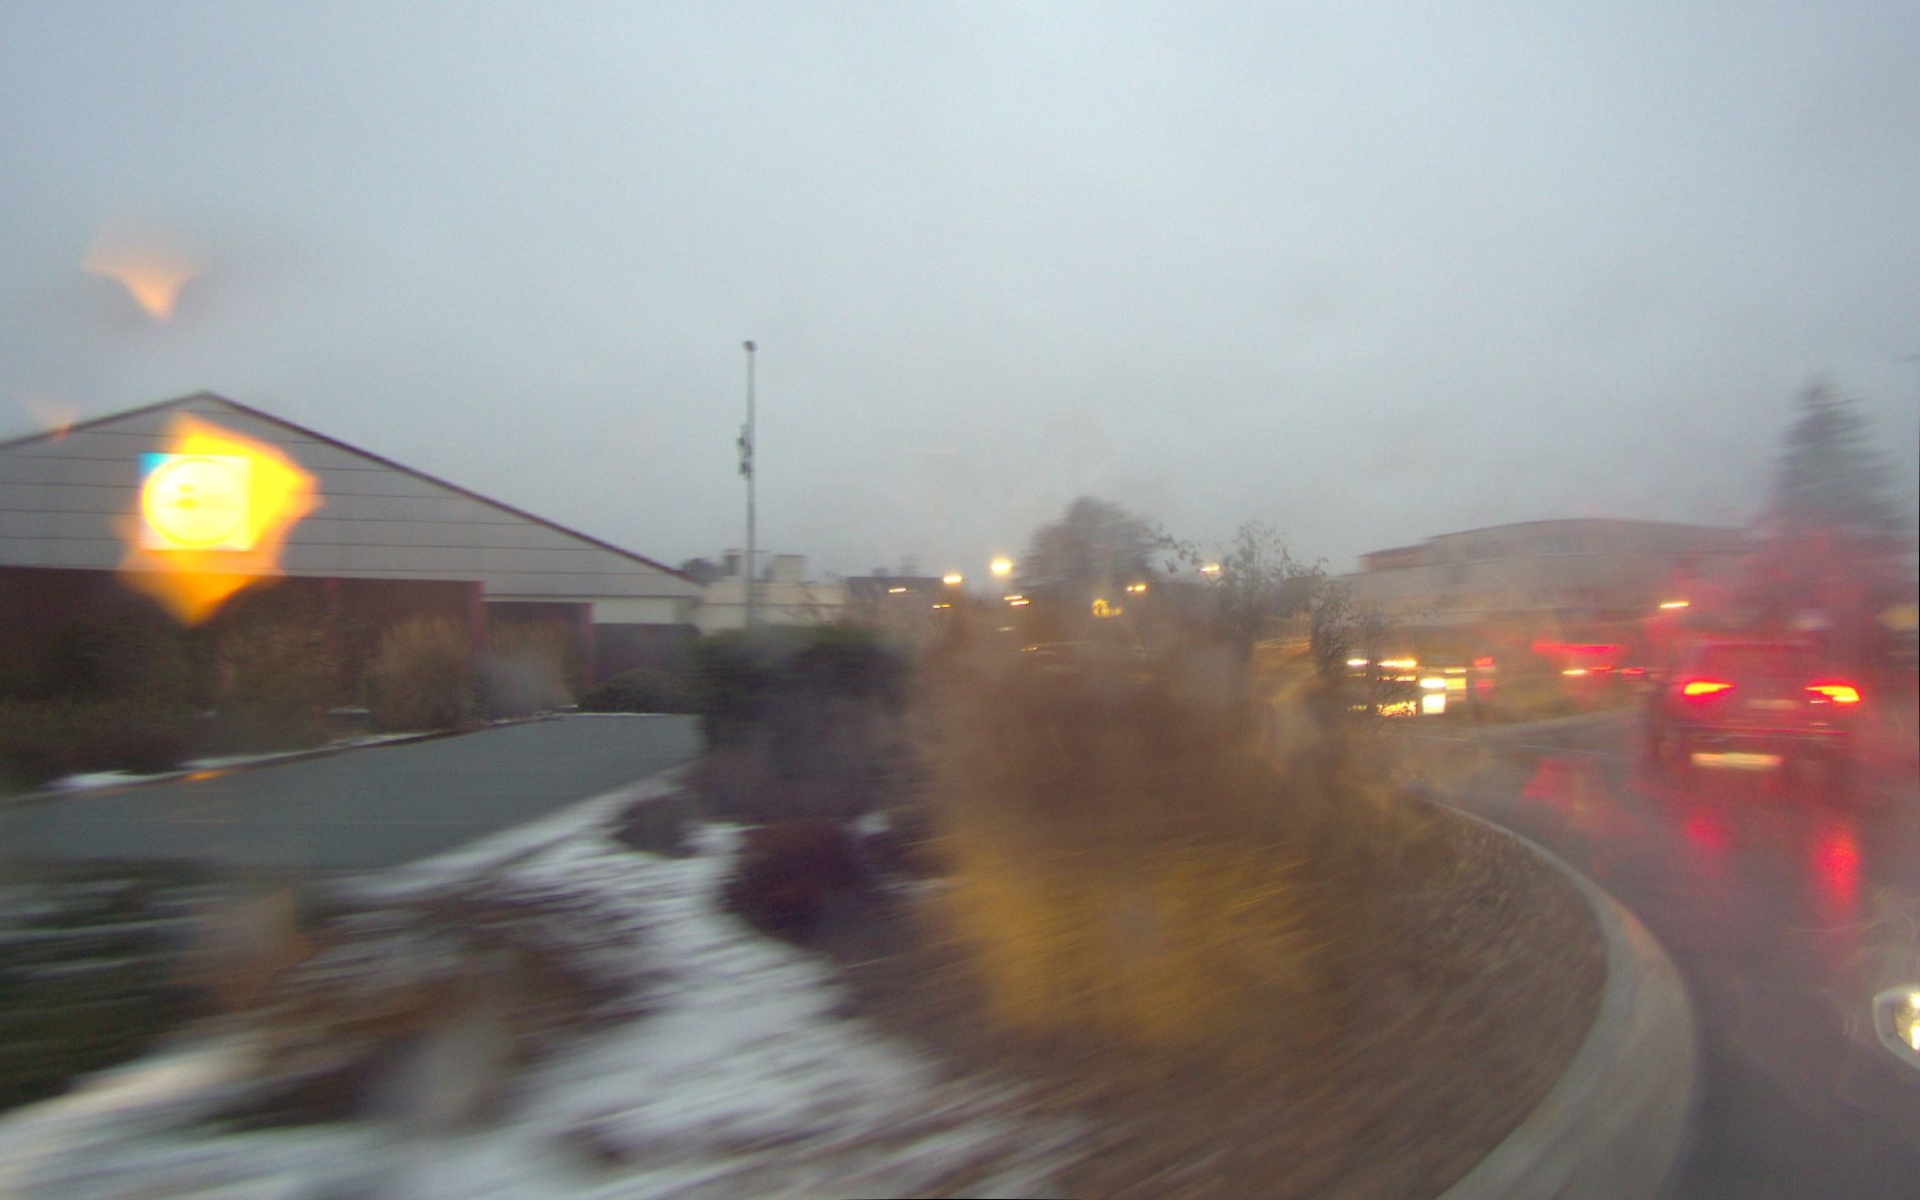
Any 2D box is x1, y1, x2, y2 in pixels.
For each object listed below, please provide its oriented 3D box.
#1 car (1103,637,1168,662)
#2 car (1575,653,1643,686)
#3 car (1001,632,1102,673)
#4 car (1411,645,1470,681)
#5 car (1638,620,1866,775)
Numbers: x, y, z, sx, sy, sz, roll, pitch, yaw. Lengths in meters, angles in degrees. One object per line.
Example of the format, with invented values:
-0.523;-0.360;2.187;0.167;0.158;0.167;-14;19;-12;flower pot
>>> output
12.634;3.565;72.270;4.282;1.770;1.702;1;-2;-14;car
32.463;3.476;50.377;1.852;1.568;4.573;-1;-4;20;car
5.210;2.994;57.375;5.340;2.162;2.025;3;-2;-19;car
30.257;3.943;63.380;2.126;2.087;4.575;0;-2;10;car
10.435;1.183;13.555;1.917;1.741;3.991;-1;-2;32;car
